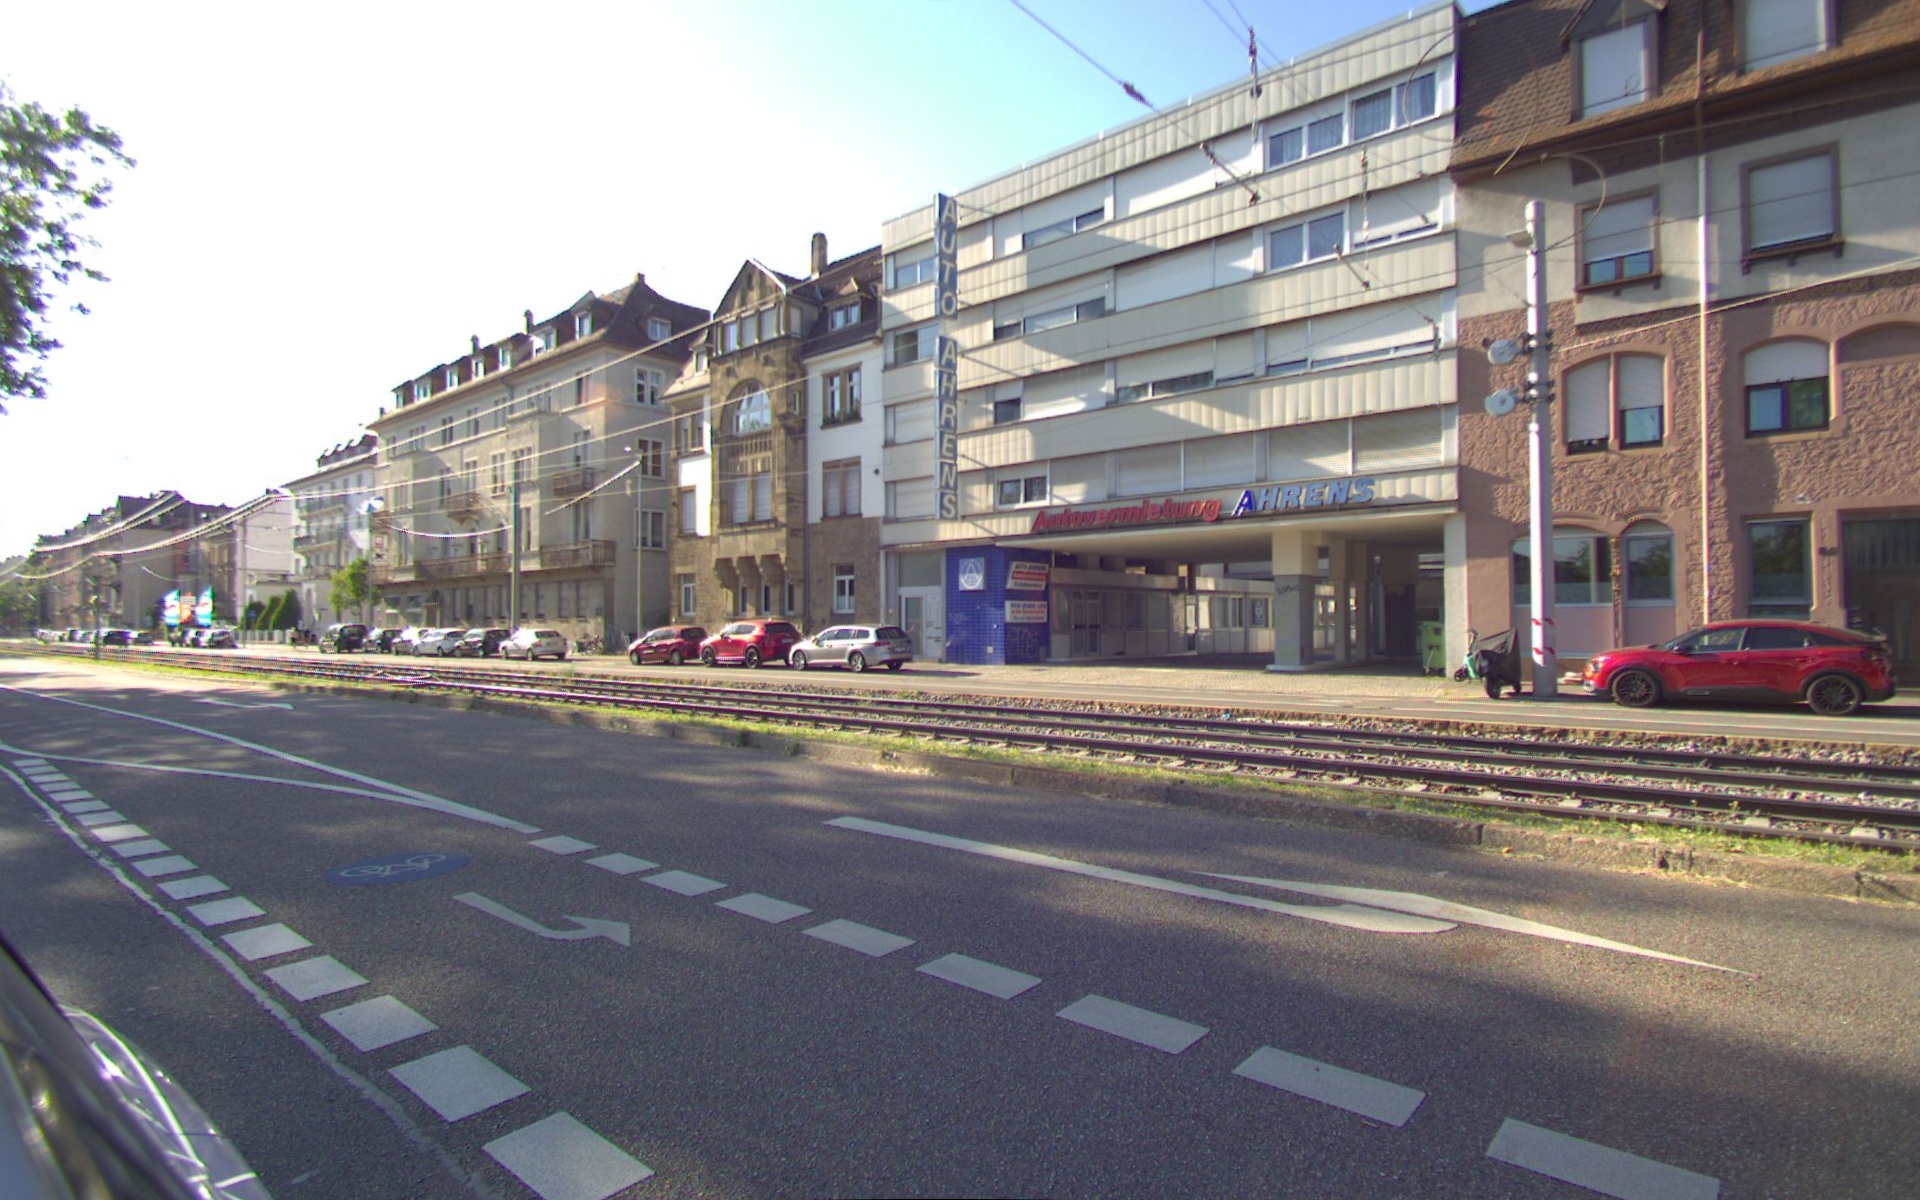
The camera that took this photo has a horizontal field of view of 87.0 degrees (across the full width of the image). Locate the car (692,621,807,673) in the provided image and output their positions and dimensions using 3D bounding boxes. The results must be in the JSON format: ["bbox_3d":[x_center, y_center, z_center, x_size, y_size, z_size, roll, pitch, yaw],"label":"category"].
[{"bbox_3d":[-7.526,1.645,36.029,4.262,1.700,1.836,-2,-1,42],"label":"car"}]

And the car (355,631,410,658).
[{"bbox_3d":[-34.985,2.680,61.303,3.822,1.490,1.778,-2,-1,42],"label":"car"}]

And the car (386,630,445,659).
[{"bbox_3d":[-30.771,2.503,57.170,3.822,1.490,1.778,-2,-1,42],"label":"car"}]

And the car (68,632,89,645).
[{"bbox_3d":[-115.423,5.066,132.530,3.449,1.602,1.603,-2,-1,42],"label":"car"}]

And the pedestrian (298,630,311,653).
[{"bbox_3d":[-51.626,3.262,79.706,0.677,1.803,0.716,-2,-3,41],"label":"pedestrian"}]

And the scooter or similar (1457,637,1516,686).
[{"bbox_3d":[11.740,1.362,22.591,1.121,1.077,0.202,-2,-1,42],"label":"scooter or similar"}]

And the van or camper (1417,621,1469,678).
[{"bbox_3d":[11.995,1.205,25.129,0.803,1.368,1.409,-2,-3,41],"label":"van or camper"}]

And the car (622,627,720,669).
[{"bbox_3d":[-11.290,1.871,39.484,3.722,1.507,1.736,-2,-1,36],"label":"car"}]

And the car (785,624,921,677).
[{"bbox_3d":[-3.484,1.593,32.518,4.379,1.510,1.837,-2,-1,41],"label":"car"}]

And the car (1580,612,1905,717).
[{"bbox_3d":[13.272,1.040,17.387,4.208,1.510,1.837,-2,1,41],"label":"car"}]

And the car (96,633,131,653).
[{"bbox_3d":[-74.902,3.785,89.504,3.999,1.697,1.798,-2,-3,42],"label":"car"}]

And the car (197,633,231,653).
[{"bbox_3d":[-63.161,3.597,85.677,3.387,1.583,1.662,-2,-1,42],"label":"car"}]

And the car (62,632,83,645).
[{"bbox_3d":[-119.026,5.160,135.717,3.449,1.602,1.603,-2,-1,42],"label":"car"}]

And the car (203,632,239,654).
[{"bbox_3d":[-59.674,3.463,81.699,3.407,1.644,1.655,-2,-1,42],"label":"car"}]

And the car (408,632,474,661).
[{"bbox_3d":[-27.414,2.443,53.483,3.531,1.457,1.624,-2,-1,35],"label":"car"}]

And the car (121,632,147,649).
[{"bbox_3d":[-86.445,4.222,105.914,3.449,1.602,1.603,-2,-1,42],"label":"car"}]

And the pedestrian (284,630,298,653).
[{"bbox_3d":[-52.356,3.272,79.207,0.677,1.803,0.716,-2,-3,41],"label":"pedestrian"}]

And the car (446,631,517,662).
[{"bbox_3d":[-24.169,2.337,51.067,3.820,1.441,1.779,-2,-1,40],"label":"car"}]

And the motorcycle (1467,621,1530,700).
[{"bbox_3d":[10.614,1.163,19.916,0.628,1.433,1.835,-3,-1,41],"label":"motorcycle"}]

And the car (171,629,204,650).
[{"bbox_3d":[-70.949,3.640,92.981,3.879,1.800,1.705,-2,-1,42],"label":"car"}]

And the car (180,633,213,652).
[{"bbox_3d":[-67.191,3.697,89.042,3.387,1.583,1.662,-2,-1,42],"label":"car"}]

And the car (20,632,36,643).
[{"bbox_3d":[-152.623,6.136,165.774,3.449,1.602,1.603,-2,-1,42],"label":"car"}]

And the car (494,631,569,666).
[{"bbox_3d":[-20.116,2.243,47.442,3.822,1.490,1.778,-2,-1,42],"label":"car"}]

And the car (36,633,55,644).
[{"bbox_3d":[-133.136,5.611,147.341,3.449,1.602,1.603,-2,-1,42],"label":"car"}]

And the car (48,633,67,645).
[{"bbox_3d":[-125.194,5.400,140.339,3.449,1.602,1.603,-2,-1,42],"label":"car"}]

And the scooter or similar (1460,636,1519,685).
[{"bbox_3d":[11.915,1.347,22.790,1.121,1.077,0.202,-2,-1,42],"label":"scooter or similar"}]

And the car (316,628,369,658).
[{"bbox_3d":[-39.417,2.720,64.544,3.914,1.750,1.851,-2,-1,42],"label":"car"}]
